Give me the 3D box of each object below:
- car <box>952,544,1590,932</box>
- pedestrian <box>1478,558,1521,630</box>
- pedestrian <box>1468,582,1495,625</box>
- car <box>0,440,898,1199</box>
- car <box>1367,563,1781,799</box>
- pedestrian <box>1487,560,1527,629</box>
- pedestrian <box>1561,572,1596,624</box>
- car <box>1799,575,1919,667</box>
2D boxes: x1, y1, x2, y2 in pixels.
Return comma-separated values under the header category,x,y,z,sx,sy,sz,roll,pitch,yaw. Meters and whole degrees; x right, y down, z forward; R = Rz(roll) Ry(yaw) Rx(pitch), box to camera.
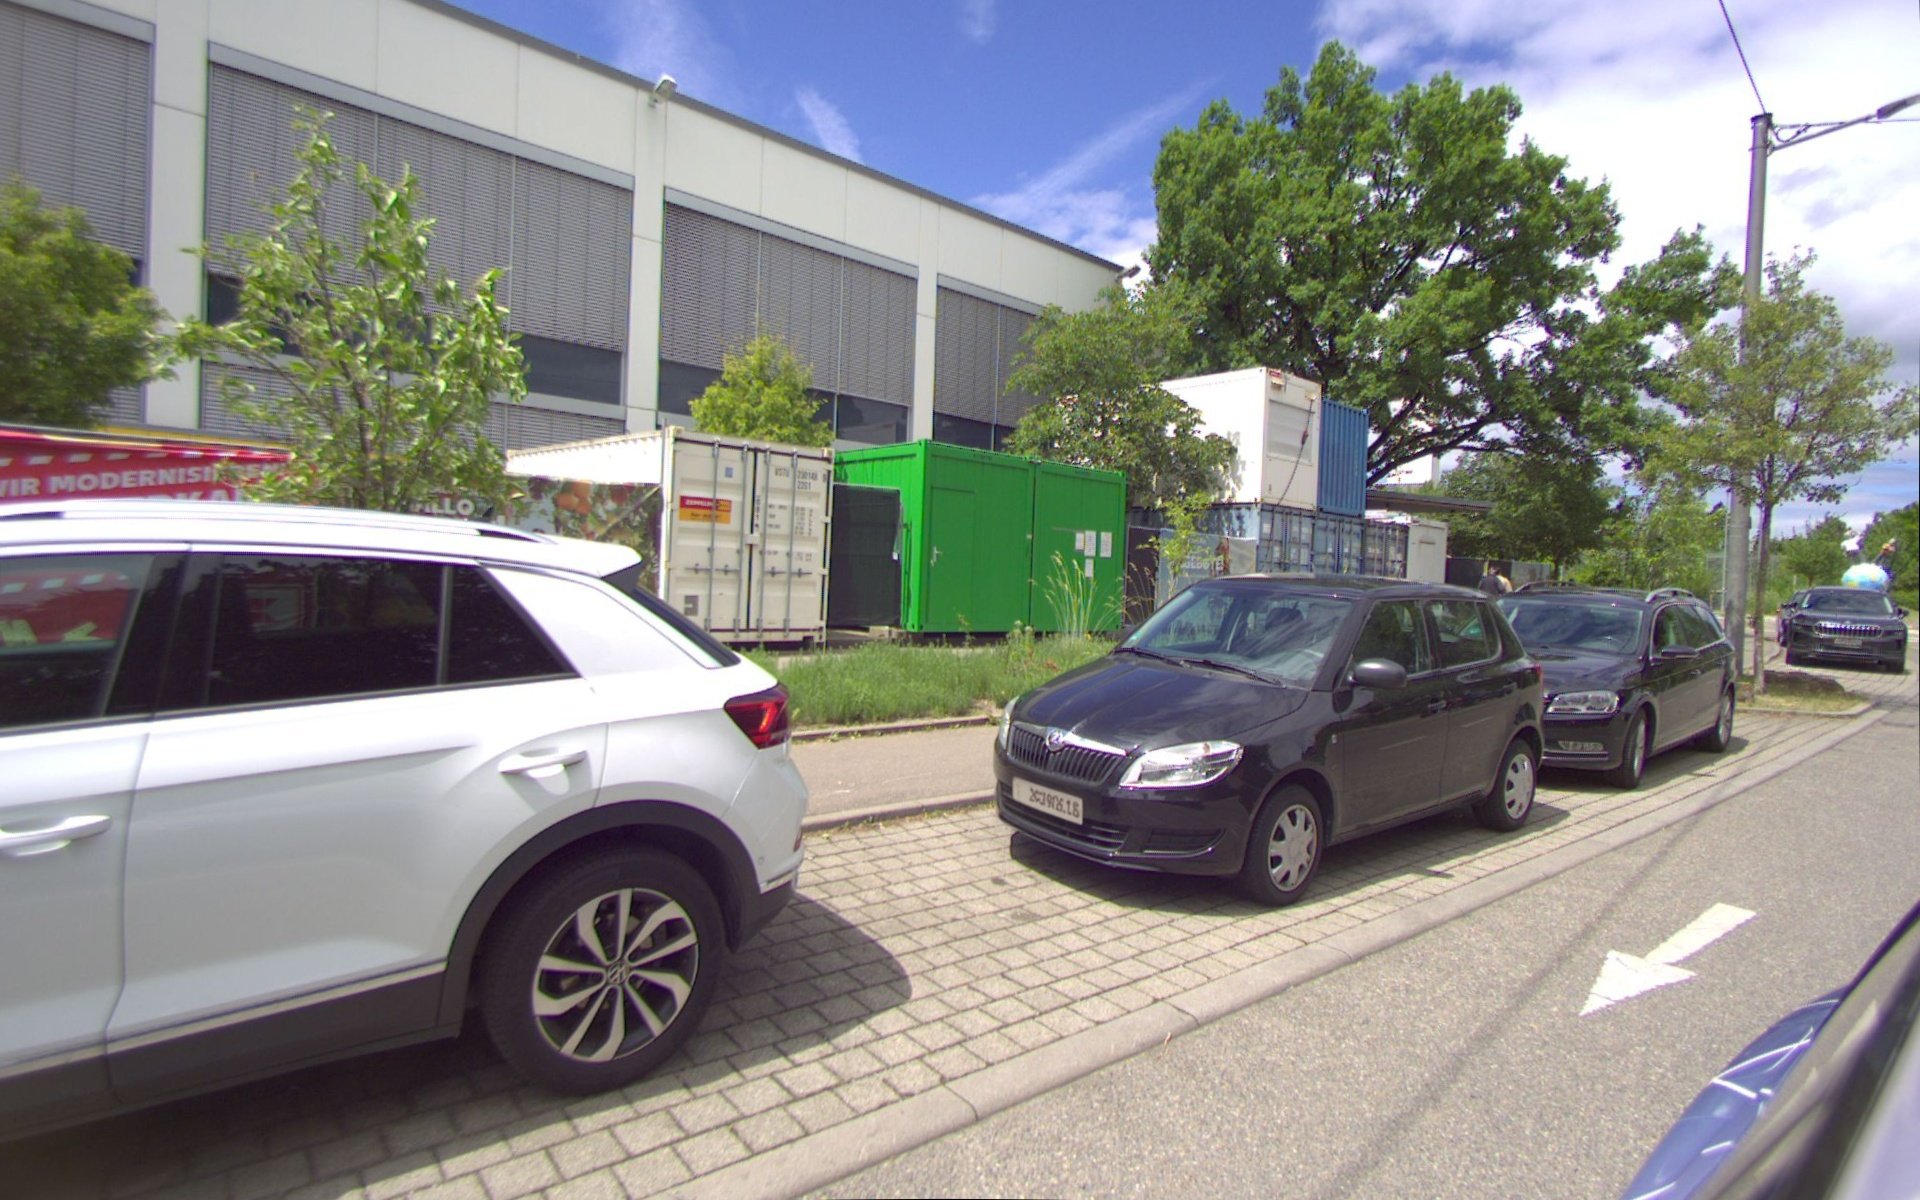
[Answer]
category,x,y,z,sx,sy,sz,roll,pitch,yaw
car,1.990,0.506,5.854,3.928,1.511,1.572,0,3,-39
pedestrian,13.132,-0.154,24.639,0.830,1.718,0.653,0,2,-42
pedestrian,13.381,0.092,25.959,0.557,1.071,0.412,0,2,-42
car,-2.435,0.443,2.546,4.308,1.635,1.742,0,5,-40
car,5.711,0.508,9.105,4.851,1.494,1.769,-1,5,-42
pedestrian,13.874,-0.150,25.653,0.712,1.717,0.651,0,2,-42
pedestrian,19.939,-0.072,32.626,0.754,1.638,0.744,0,2,-42
car,19.032,0.358,21.403,1.877,1.641,4.777,5,4,40
